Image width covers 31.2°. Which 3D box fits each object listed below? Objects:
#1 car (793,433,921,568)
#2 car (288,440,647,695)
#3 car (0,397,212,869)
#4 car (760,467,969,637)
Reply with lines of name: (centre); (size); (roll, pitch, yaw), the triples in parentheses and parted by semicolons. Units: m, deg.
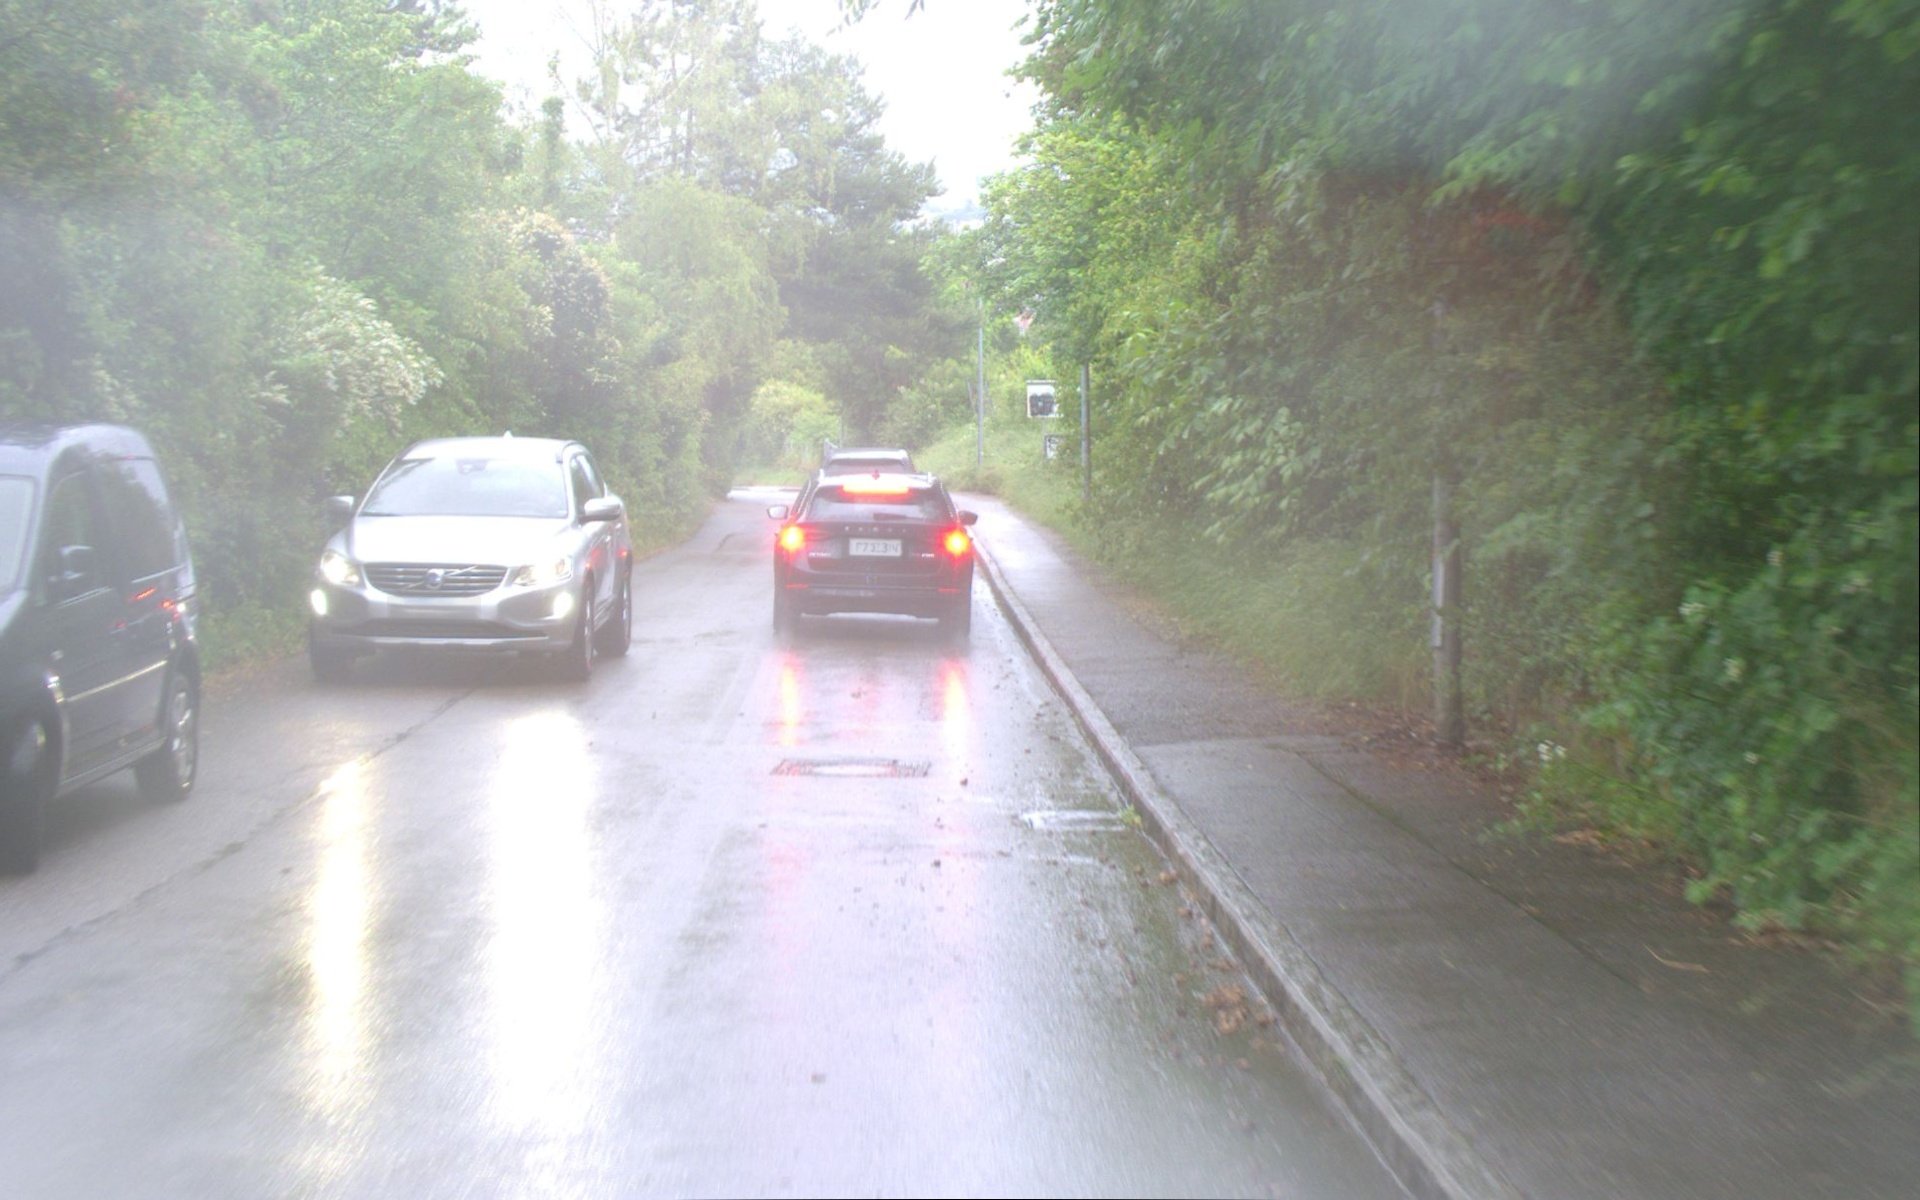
car: (-1.602, -1.494, 52.911); (1.863, 1.737, 4.000); (1, -3, -2)
car: (-3.434, -0.310, 24.731); (2.048, 1.595, 4.230); (2, 3, -2)
car: (-4.473, 0.068, 14.626); (1.689, 1.776, 4.233); (0, 2, 0)
car: (-0.930, -0.464, 31.415); (1.699, 1.445, 4.001); (0, 2, -4)
